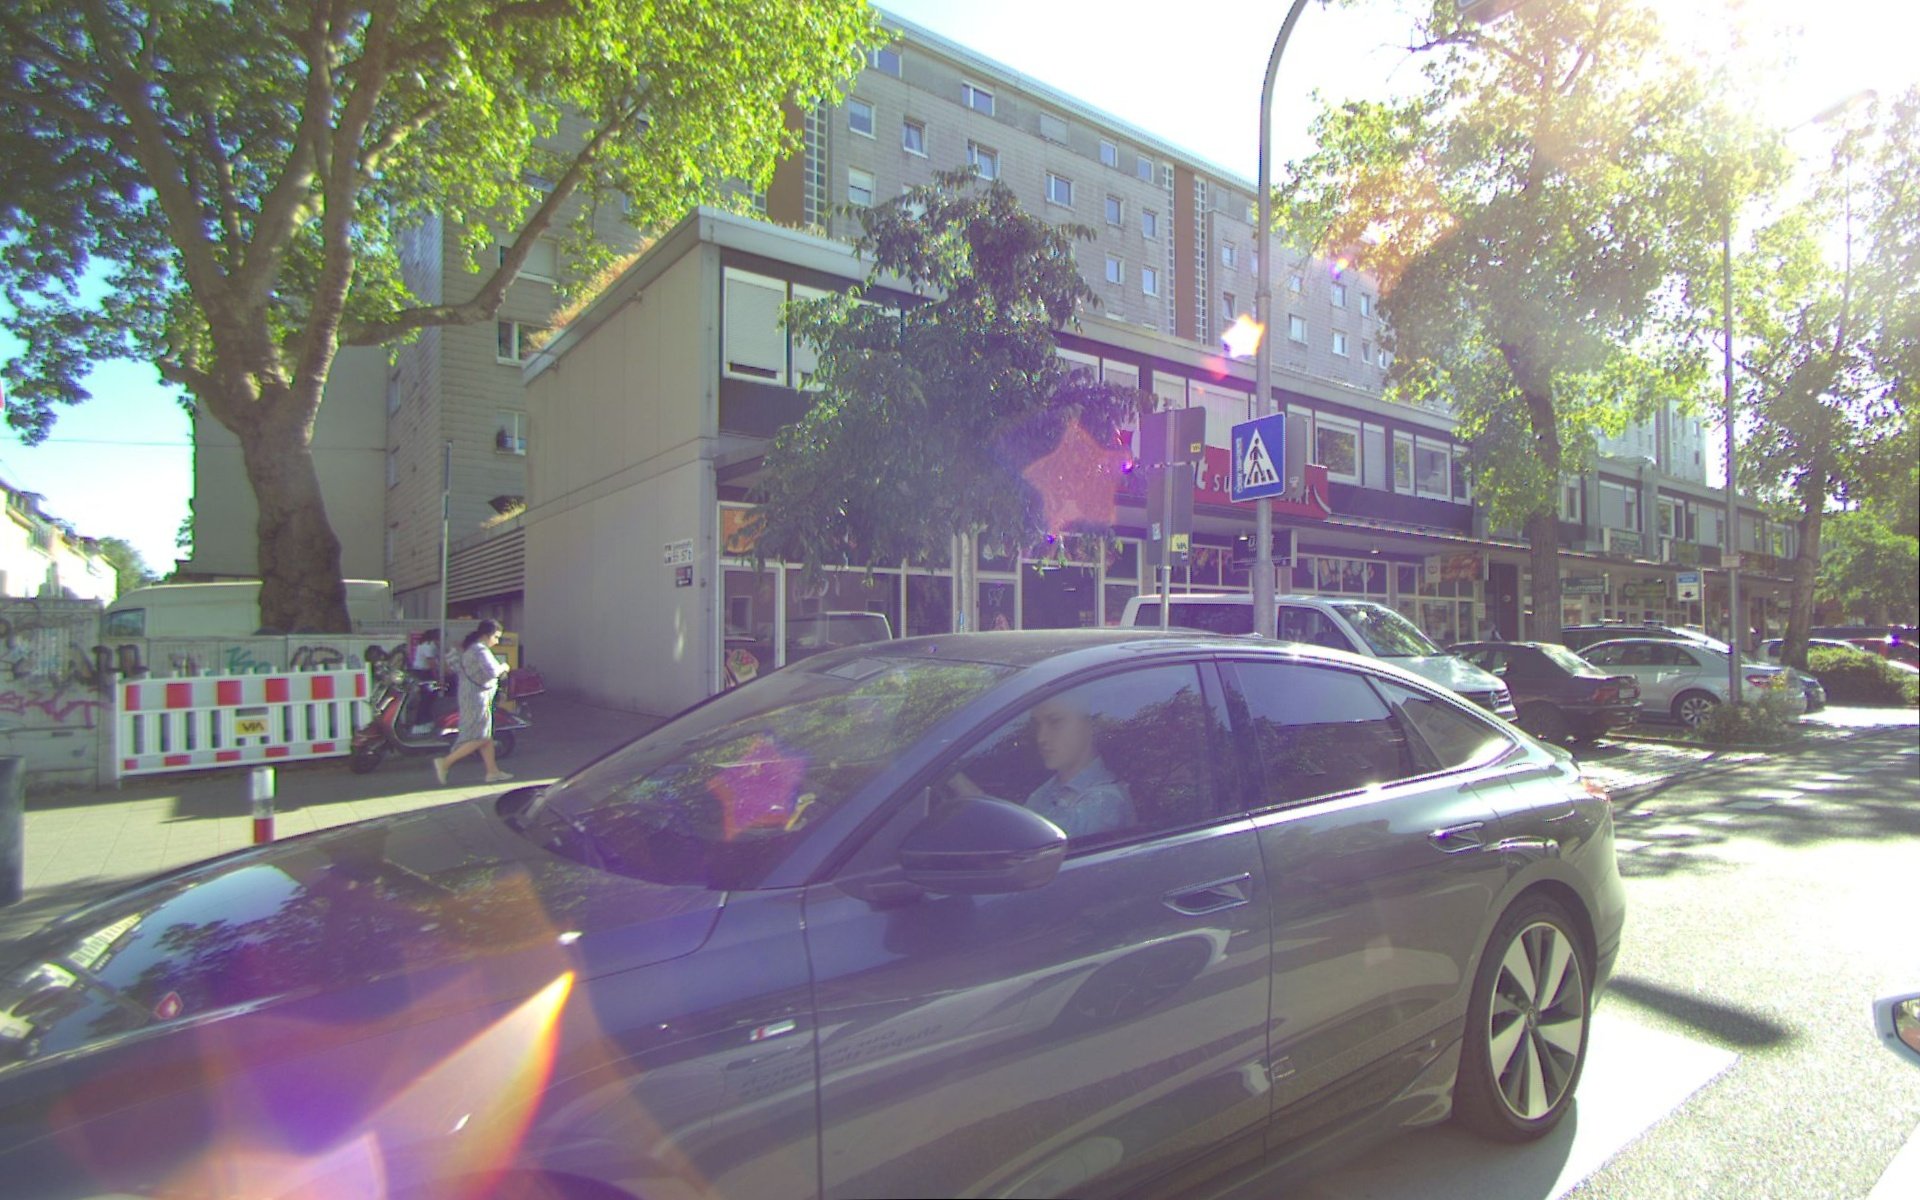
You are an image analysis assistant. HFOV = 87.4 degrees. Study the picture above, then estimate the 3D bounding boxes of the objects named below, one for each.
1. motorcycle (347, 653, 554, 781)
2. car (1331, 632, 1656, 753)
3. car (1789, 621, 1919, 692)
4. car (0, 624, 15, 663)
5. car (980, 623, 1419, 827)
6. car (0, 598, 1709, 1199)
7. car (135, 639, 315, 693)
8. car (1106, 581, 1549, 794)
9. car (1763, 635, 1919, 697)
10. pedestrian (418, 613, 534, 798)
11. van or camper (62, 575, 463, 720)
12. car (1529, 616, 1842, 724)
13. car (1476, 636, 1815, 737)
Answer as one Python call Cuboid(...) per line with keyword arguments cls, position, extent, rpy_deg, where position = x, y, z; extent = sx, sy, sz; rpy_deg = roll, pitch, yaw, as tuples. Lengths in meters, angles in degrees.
Cuboid(cls="motorcycle", position=(-5.473, 1.209, 10.860), extent=(1.904, 1.195, 0.663), rpy_deg=(-1, -1, -37))
Cuboid(cls="car", position=(7.849, 1.266, 15.108), extent=(1.701, 1.513, 4.000), rpy_deg=(1, -1, -37))
Cuboid(cls="car", position=(27.858, 1.646, 29.498), extent=(1.646, 2.007, 5.175), rpy_deg=(1, -2, -37))
Cuboid(cls="car", position=(-47.924, 2.149, 49.213), extent=(1.749, 1.878, 4.285), rpy_deg=(1, -2, -36))
Cuboid(cls="car", position=(2.197, 1.091, 10.311), extent=(1.742, 1.634, 4.259), rpy_deg=(1, -3, -37))
Cuboid(cls="car", position=(0.160, 0.817, 2.978), extent=(4.530, 1.473, 1.898), rpy_deg=(1, -3, -34))
Cuboid(cls="car", position=(-23.004, 2.033, 31.546), extent=(4.387, 1.553, 1.678), rpy_deg=(2, -3, -43))
Cuboid(cls="car", position=(4.141, 0.869, 12.049), extent=(1.942, 2.033, 4.693), rpy_deg=(1, -1, -38))
Cuboid(cls="car", position=(25.649, 1.810, 28.182), extent=(1.646, 1.631, 4.593), rpy_deg=(1, -2, -37))
Cuboid(cls="pedestrian", position=(-4.612, 0.953, 9.564), extent=(0.838, 1.595, 0.838), rpy_deg=(-2, 4, -35))
Cuboid(cls="van or camper", position=(-14.891, 0.903, 22.026), extent=(6.861, 2.608, 1.980), rpy_deg=(-3, 0, -36))
Cuboid(cls="car", position=(13.869, 1.271, 19.482), extent=(1.820, 1.828, 4.593), rpy_deg=(1, -2, -37))
Cuboid(cls="car", position=(11.879, 1.403, 17.720), extent=(1.811, 1.513, 4.622), rpy_deg=(1, -2, -37))
